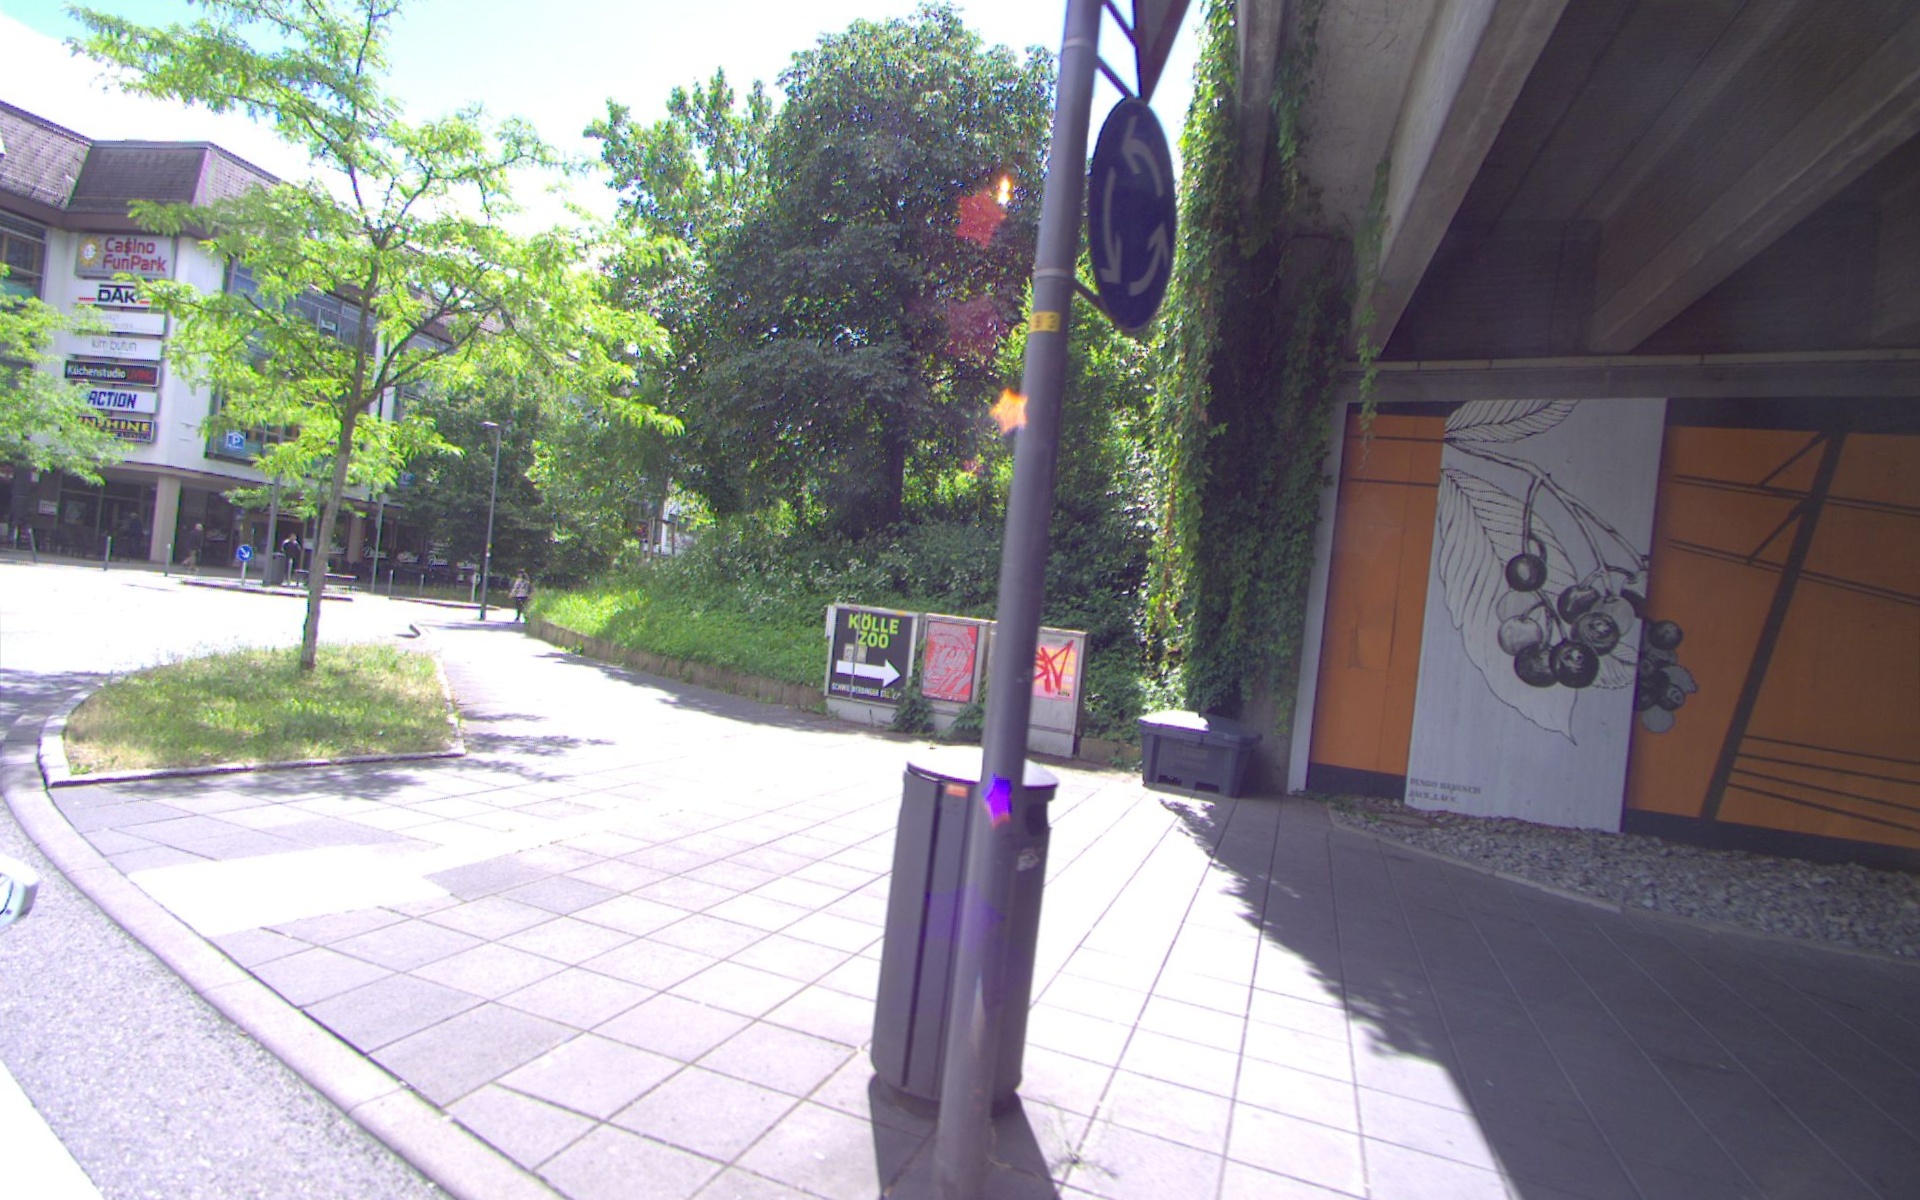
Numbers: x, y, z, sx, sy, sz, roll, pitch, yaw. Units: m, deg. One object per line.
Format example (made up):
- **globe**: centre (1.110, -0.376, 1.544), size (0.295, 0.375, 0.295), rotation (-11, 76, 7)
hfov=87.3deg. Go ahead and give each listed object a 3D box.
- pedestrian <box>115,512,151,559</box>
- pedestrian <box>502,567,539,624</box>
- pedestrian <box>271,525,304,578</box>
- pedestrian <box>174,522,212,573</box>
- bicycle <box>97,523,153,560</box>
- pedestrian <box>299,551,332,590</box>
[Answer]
- **pedestrian**: centre (-32.588, -2.533, 39.652), size (0.605, 1.694, 0.698), rotation (7, -1, 11)
- **pedestrian**: centre (-13.133, -0.135, 30.048), size (0.758, 1.572, 0.773), rotation (8, -1, -32)
- **pedestrian**: centre (-24.755, -1.772, 37.039), size (0.685, 1.844, 0.617), rotation (7, 3, 16)
- **pedestrian**: centre (-27.176, -1.843, 35.665), size (0.606, 1.694, 0.698), rotation (7, -1, -2)
- **bicycle**: centre (-32.638, -2.271, 39.350), size (1.530, 1.181, 0.491), rotation (9, -3, -35)
- **pedestrian**: centre (-23.459, -1.082, 36.633), size (0.685, 1.300, 0.617), rotation (7, -1, 24)
